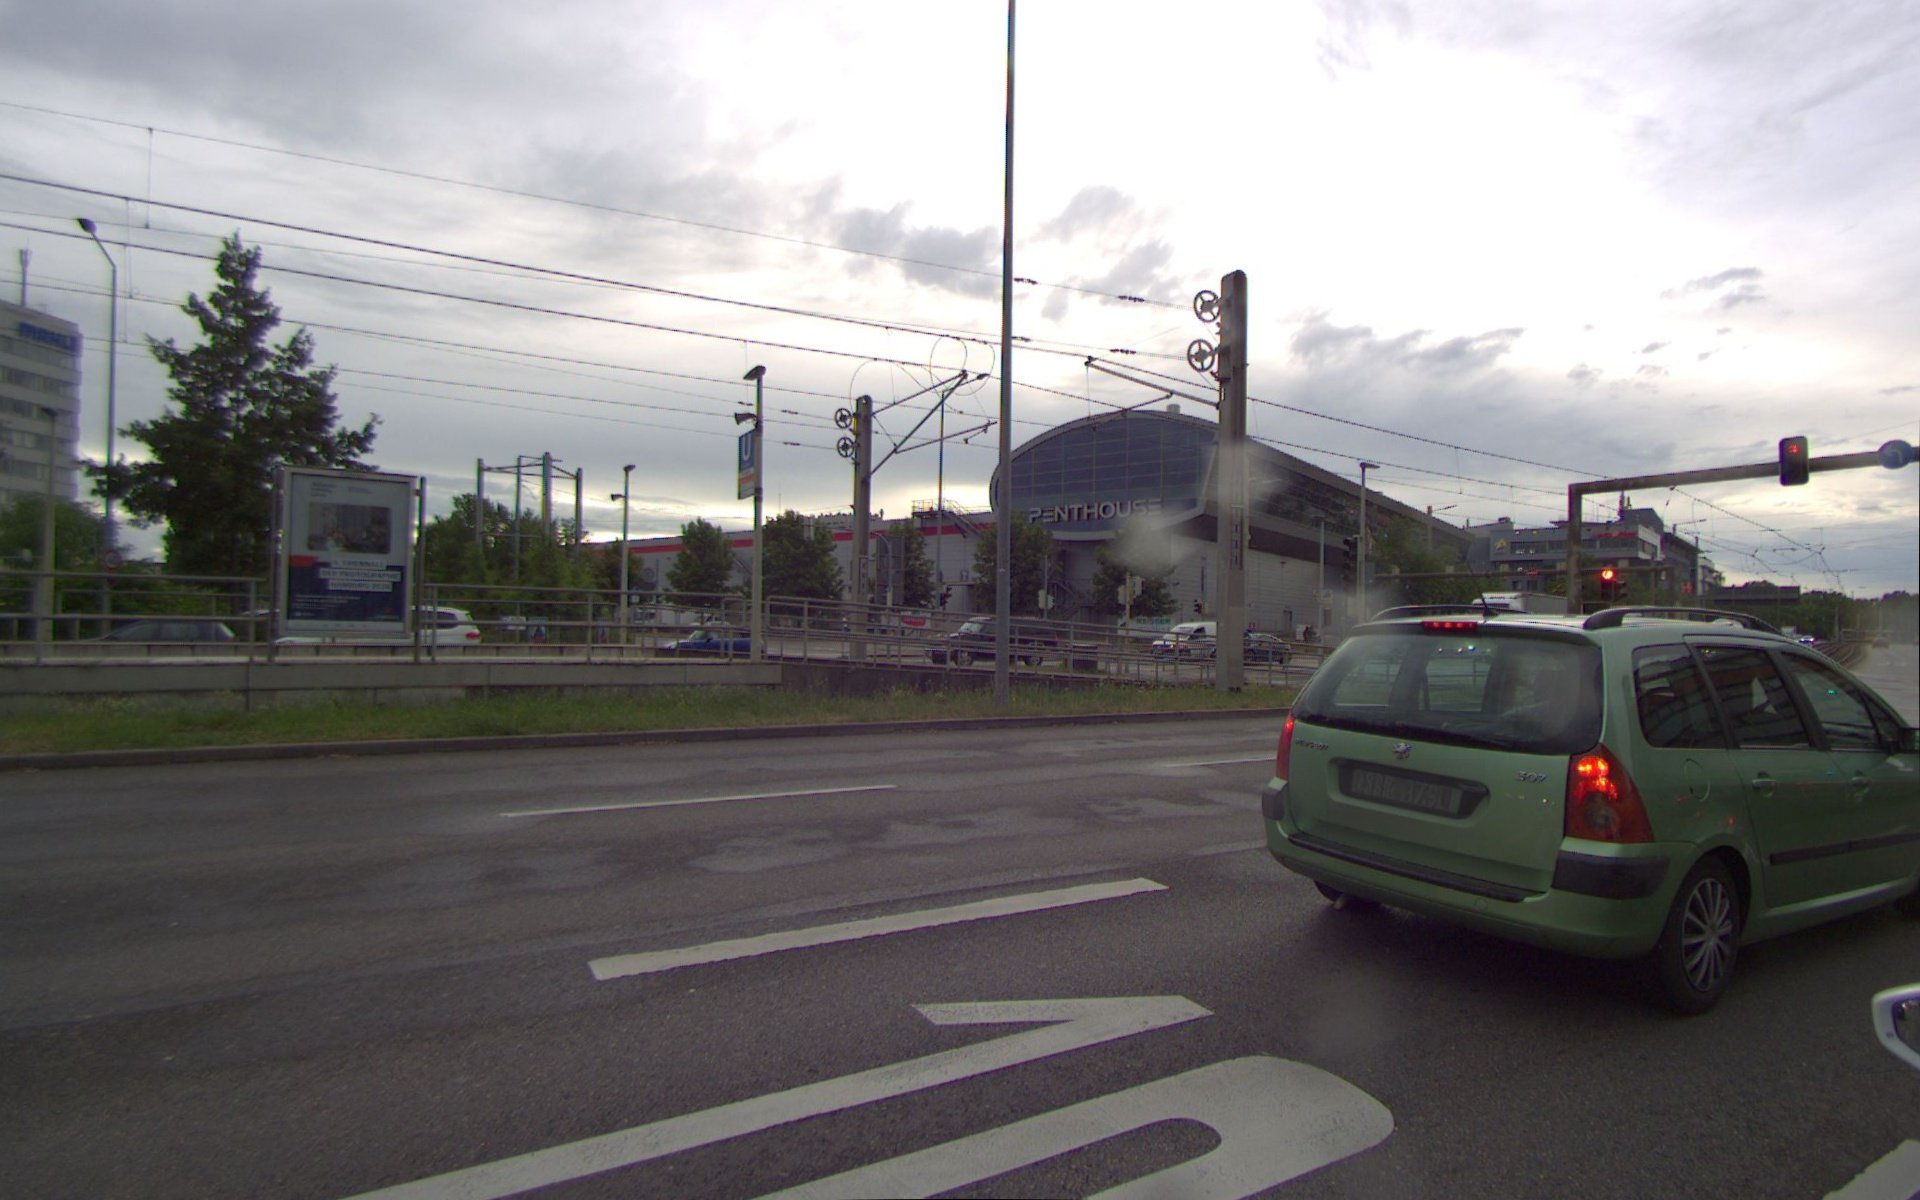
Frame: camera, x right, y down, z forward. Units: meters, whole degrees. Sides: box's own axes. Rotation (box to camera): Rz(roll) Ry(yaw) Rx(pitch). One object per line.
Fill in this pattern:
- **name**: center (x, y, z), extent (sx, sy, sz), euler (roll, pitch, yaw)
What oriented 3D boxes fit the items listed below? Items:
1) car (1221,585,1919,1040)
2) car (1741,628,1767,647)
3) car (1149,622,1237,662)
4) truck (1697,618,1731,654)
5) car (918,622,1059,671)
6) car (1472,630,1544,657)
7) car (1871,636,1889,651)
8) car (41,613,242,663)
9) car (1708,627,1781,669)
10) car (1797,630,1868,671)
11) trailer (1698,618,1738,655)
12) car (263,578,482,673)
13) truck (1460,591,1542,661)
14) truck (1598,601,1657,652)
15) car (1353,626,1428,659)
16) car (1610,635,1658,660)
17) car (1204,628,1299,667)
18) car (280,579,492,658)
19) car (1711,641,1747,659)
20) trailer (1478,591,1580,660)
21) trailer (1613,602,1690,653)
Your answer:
- **car**: center (3.566, 0.788, 5.142), extent (4.352, 1.488, 1.686), euler (3, 0, -30)
- **car**: center (86.461, 4.051, 109.325), extent (1.970, 1.862, 4.884), euler (2, 1, 41)
- **car**: center (10.836, 1.962, 46.704), extent (4.038, 1.648, 1.563), euler (3, 0, -33)
- **truck**: center (82.266, 3.947, 109.602), extent (2.713, 3.854, 5.388), euler (-2, -4, 39)
- **car**: center (1.052, 1.680, 36.014), extent (4.875, 1.517, 1.669), euler (3, 0, -30)
- **car**: center (29.112, 2.319, 53.300), extent (4.379, 1.280, 1.892), euler (3, -1, -41)
- **car**: center (133.882, 6.323, 146.194), extent (1.754, 2.040, 4.321), euler (3, 0, 44)
- **car**: center (-21.527, 1.028, 26.628), extent (3.892, 1.146, 1.518), euler (3, 0, -32)
- **car**: center (41.554, 2.517, 53.182), extent (4.302, 2.040, 1.762), euler (2, 1, -34)
- **car**: center (46.974, 2.721, 54.068), extent (4.302, 2.040, 1.762), euler (2, 1, -34)
- **trailer**: center (86.260, 4.223, 114.210), extent (2.694, 3.905, 11.172), euler (-2, -4, 41)
- **car**: center (-13.903, 0.631, 23.975), extent (4.299, 2.040, 1.763), euler (3, 0, -32)
- **truck**: center (33.382, 1.610, 61.864), extent (5.946, 4.049, 2.804), euler (2, -2, -44)
- **truck**: center (56.743, 2.291, 85.303), extent (6.137, 4.184, 2.644), euler (3, -3, -41)
- **car**: center (21.775, 2.165, 50.732), extent (4.118, 1.481, 1.724), euler (3, 0, -39)
- **car**: center (48.286, 3.398, 71.938), extent (4.065, 1.674, 1.870), euler (3, 0, -42)
- **car**: center (12.676, 2.078, 43.621), extent (3.957, 1.522, 1.777), euler (3, 0, -33)
- **car**: center (-13.595, 0.463, 23.991), extent (4.221, 1.688, 1.520), euler (3, 0, -31)
- **car**: center (72.911, 4.739, 95.198), extent (4.533, 1.576, 1.885), euler (3, 0, -43)
- **trailer**: center (37.462, 1.713, 65.850), extent (11.366, 4.161, 2.767), euler (2, -2, -44)
- **trailer**: center (61.943, 2.581, 89.808), extent (12.646, 4.178, 2.627), euler (3, -3, -41)
